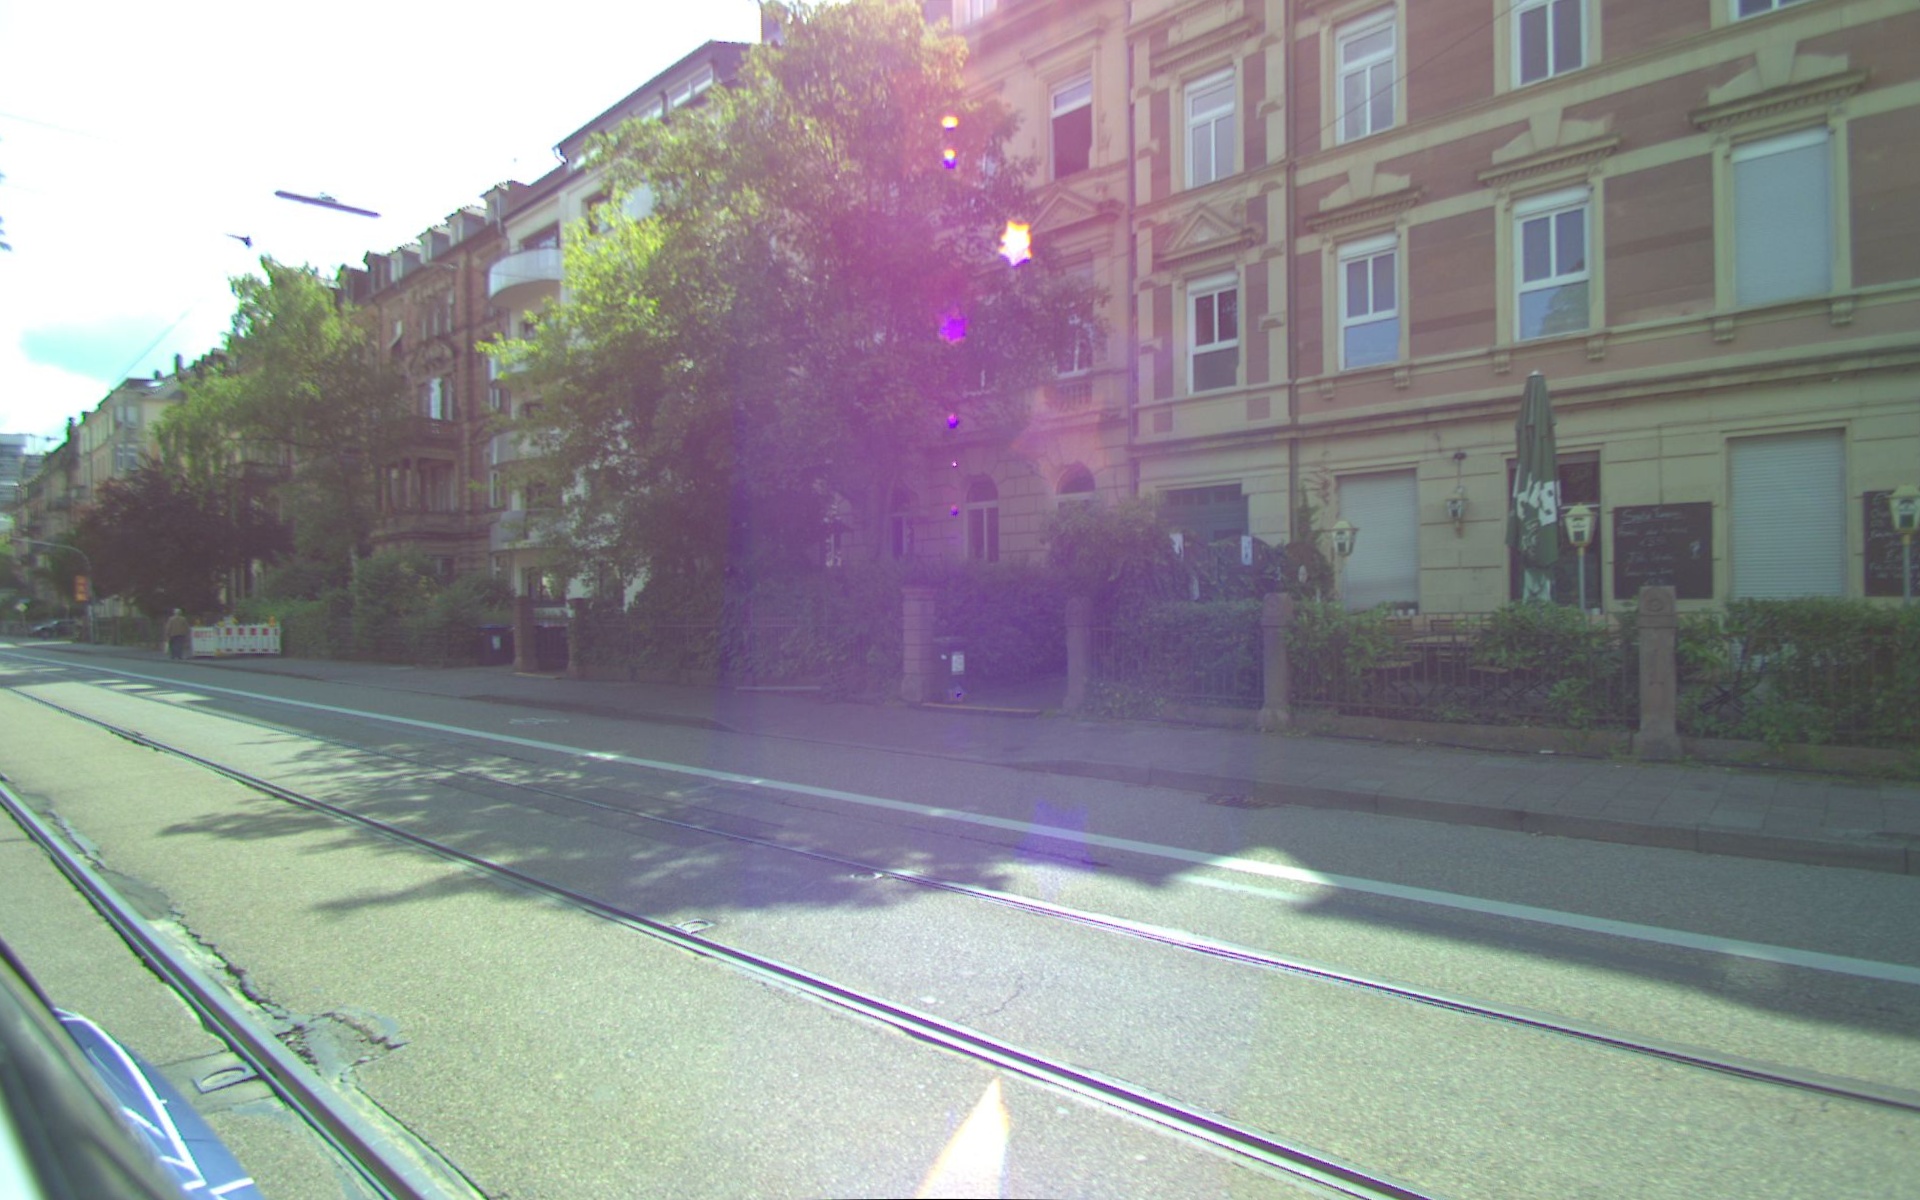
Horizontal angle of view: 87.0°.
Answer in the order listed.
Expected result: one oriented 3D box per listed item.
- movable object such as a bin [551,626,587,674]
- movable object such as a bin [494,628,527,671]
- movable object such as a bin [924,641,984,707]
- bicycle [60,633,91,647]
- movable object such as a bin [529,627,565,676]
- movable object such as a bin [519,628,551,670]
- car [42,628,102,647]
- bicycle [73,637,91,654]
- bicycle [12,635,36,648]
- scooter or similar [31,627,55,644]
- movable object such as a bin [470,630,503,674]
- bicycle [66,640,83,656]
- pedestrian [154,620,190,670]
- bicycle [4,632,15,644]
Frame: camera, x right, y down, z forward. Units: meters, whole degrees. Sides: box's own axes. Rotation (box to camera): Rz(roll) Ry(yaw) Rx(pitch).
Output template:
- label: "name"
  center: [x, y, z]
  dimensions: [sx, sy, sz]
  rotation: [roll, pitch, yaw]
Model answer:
- label: "movable object such as a bin"
  center: [-9.450, 1.203, 24.453]
  dimensions: [0.543, 1.116, 0.790]
  rotation: [-1, -1, -44]
- label: "movable object such as a bin"
  center: [-12.037, 1.327, 27.110]
  dimensions: [0.789, 1.102, 0.532]
  rotation: [0, 0, 42]
- label: "movable object such as a bin"
  center: [-0.083, 1.026, 14.262]
  dimensions: [0.616, 0.883, 0.556]
  rotation: [-1, -1, 41]
- label: "bicycle"
  center: [-70.091, 3.147, 80.204]
  dimensions: [0.523, 1.071, 1.738]
  rotation: [-2, -1, 35]
- label: "movable object such as a bin"
  center: [-9.793, 1.217, 23.997]
  dimensions: [0.543, 1.116, 0.790]
  rotation: [-1, -1, -44]
- label: "movable object such as a bin"
  center: [-11.576, 1.331, 27.570]
  dimensions: [0.789, 1.102, 0.532]
  rotation: [0, 0, 42]
- label: "car"
  center: [-73.031, 3.096, 83.257]
  dimensions: [3.562, 1.413, 1.788]
  rotation: [-2, 0, -45]
- label: "bicycle"
  center: [-51.302, 2.667, 59.137]
  dimensions: [1.967, 0.954, 0.524]
  rotation: [-1, -1, 41]
- label: "bicycle"
  center: [-76.093, 3.353, 82.263]
  dimensions: [0.404, 0.984, 1.438]
  rotation: [-2, -1, 41]
- label: "scooter or similar"
  center: [-69.536, 2.664, 76.766]
  dimensions: [0.400, 1.244, 1.360]
  rotation: [-1, 0, 12]
- label: "movable object such as a bin"
  center: [-12.434, 1.350, 26.584]
  dimensions: [0.789, 1.102, 0.532]
  rotation: [0, 0, 42]
- label: "bicycle"
  center: [-53.896, 2.930, 61.601]
  dimensions: [1.967, 0.954, 0.524]
  rotation: [-1, -1, 41]
- label: "pedestrian"
  center: [-27.792, 1.560, 35.692]
  dimensions: [0.890, 1.719, 0.814]
  rotation: [-1, -1, 38]
- label: "bicycle"
  center: [-79.491, 3.181, 84.634]
  dimensions: [1.948, 0.984, 0.417]
  rotation: [-2, -1, 41]
